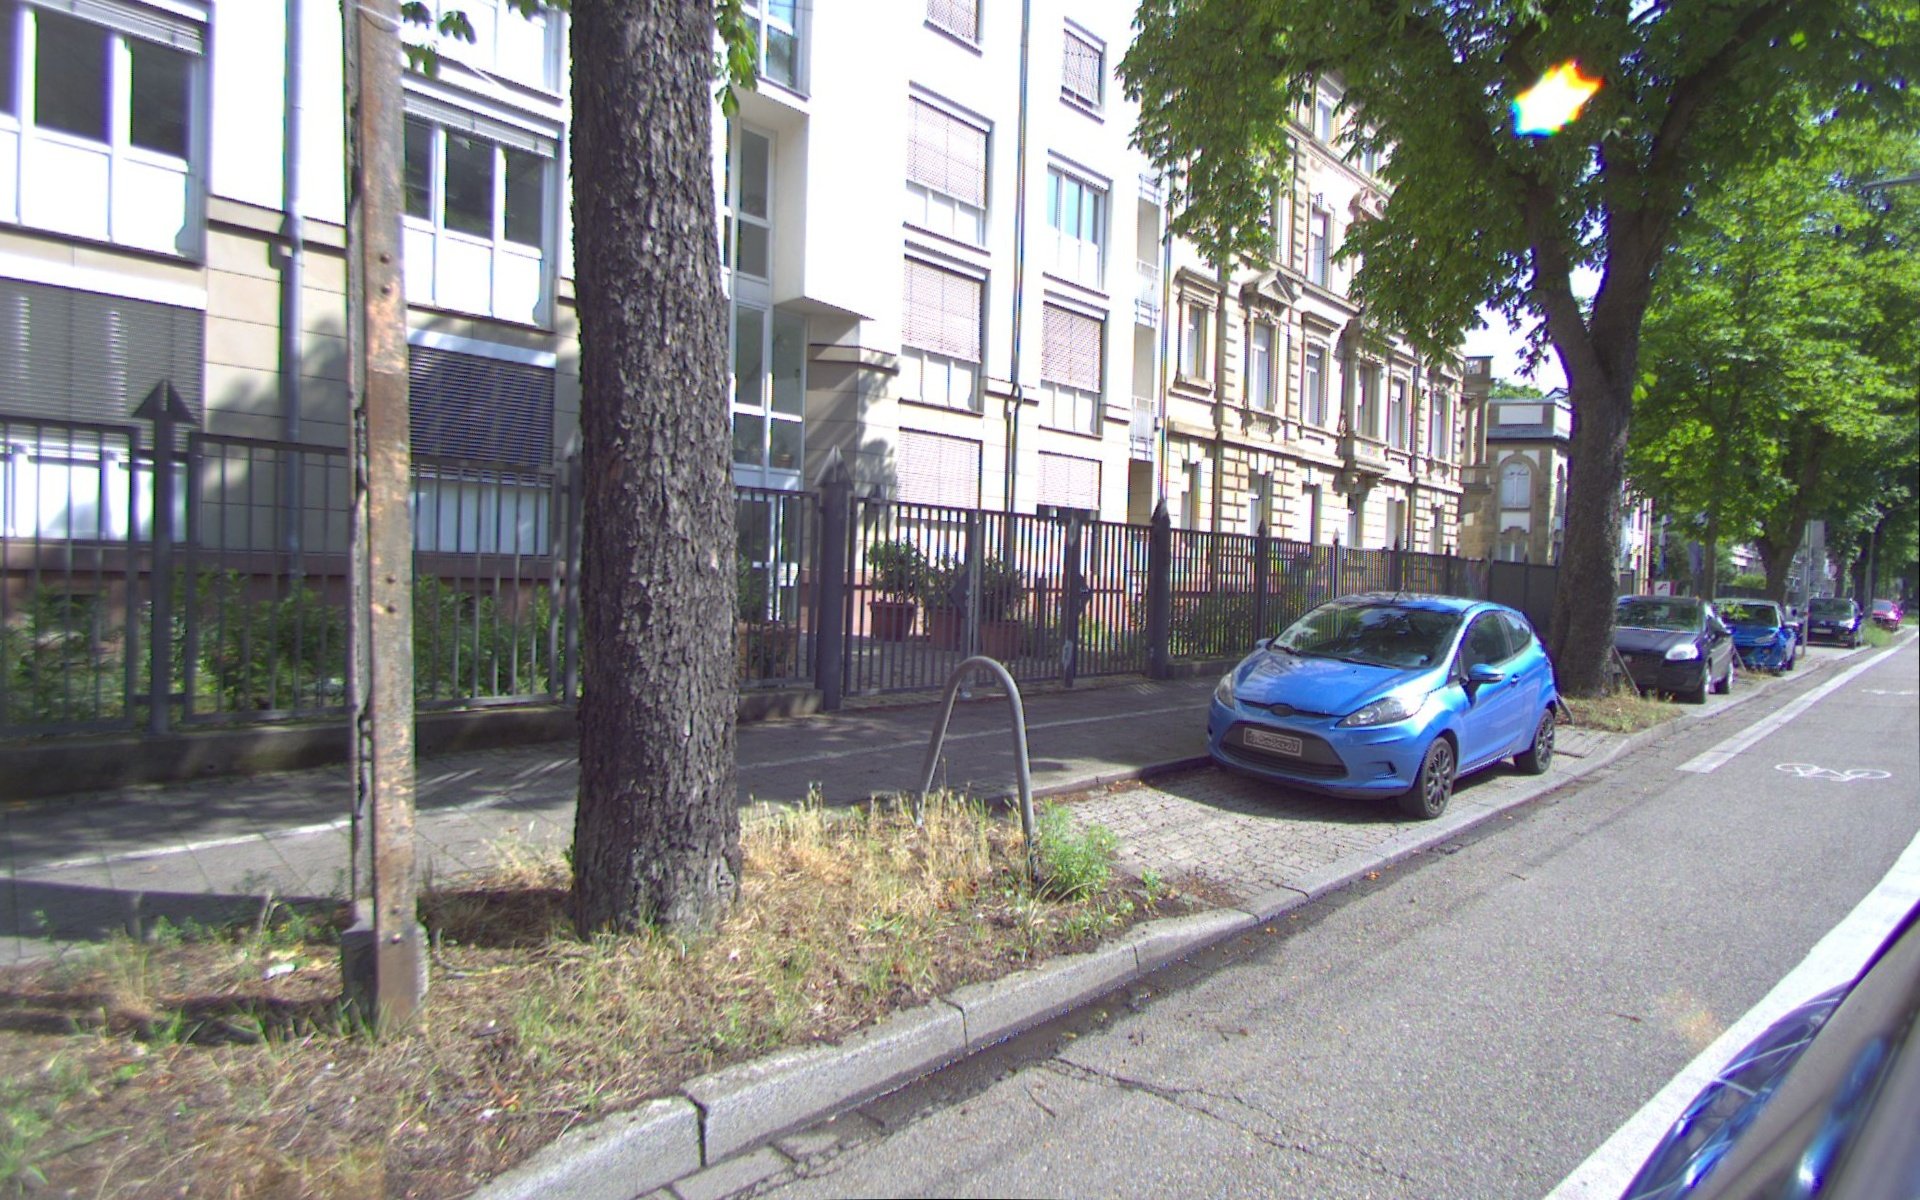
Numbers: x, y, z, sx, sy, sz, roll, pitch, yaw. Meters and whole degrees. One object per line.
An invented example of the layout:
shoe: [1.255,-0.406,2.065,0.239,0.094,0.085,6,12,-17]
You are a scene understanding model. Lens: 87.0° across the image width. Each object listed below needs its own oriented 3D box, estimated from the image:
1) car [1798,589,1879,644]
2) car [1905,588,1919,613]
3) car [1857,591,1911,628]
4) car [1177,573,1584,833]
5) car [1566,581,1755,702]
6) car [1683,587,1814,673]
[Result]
car: [29.397,0.511,33.836,1.741,1.592,3.602,7,5,44]
car: [63.237,0.080,66.280,1.741,1.592,3.867,7,5,44]
car: [45.454,0.439,49.763,1.741,1.592,3.867,7,5,44]
car: [3.480,0.619,8.072,3.601,1.493,1.644,0,5,-44]
car: [10.635,0.535,15.275,1.676,1.493,3.602,7,5,44]
car: [16.382,0.555,20.972,1.676,1.493,3.602,7,5,44]
